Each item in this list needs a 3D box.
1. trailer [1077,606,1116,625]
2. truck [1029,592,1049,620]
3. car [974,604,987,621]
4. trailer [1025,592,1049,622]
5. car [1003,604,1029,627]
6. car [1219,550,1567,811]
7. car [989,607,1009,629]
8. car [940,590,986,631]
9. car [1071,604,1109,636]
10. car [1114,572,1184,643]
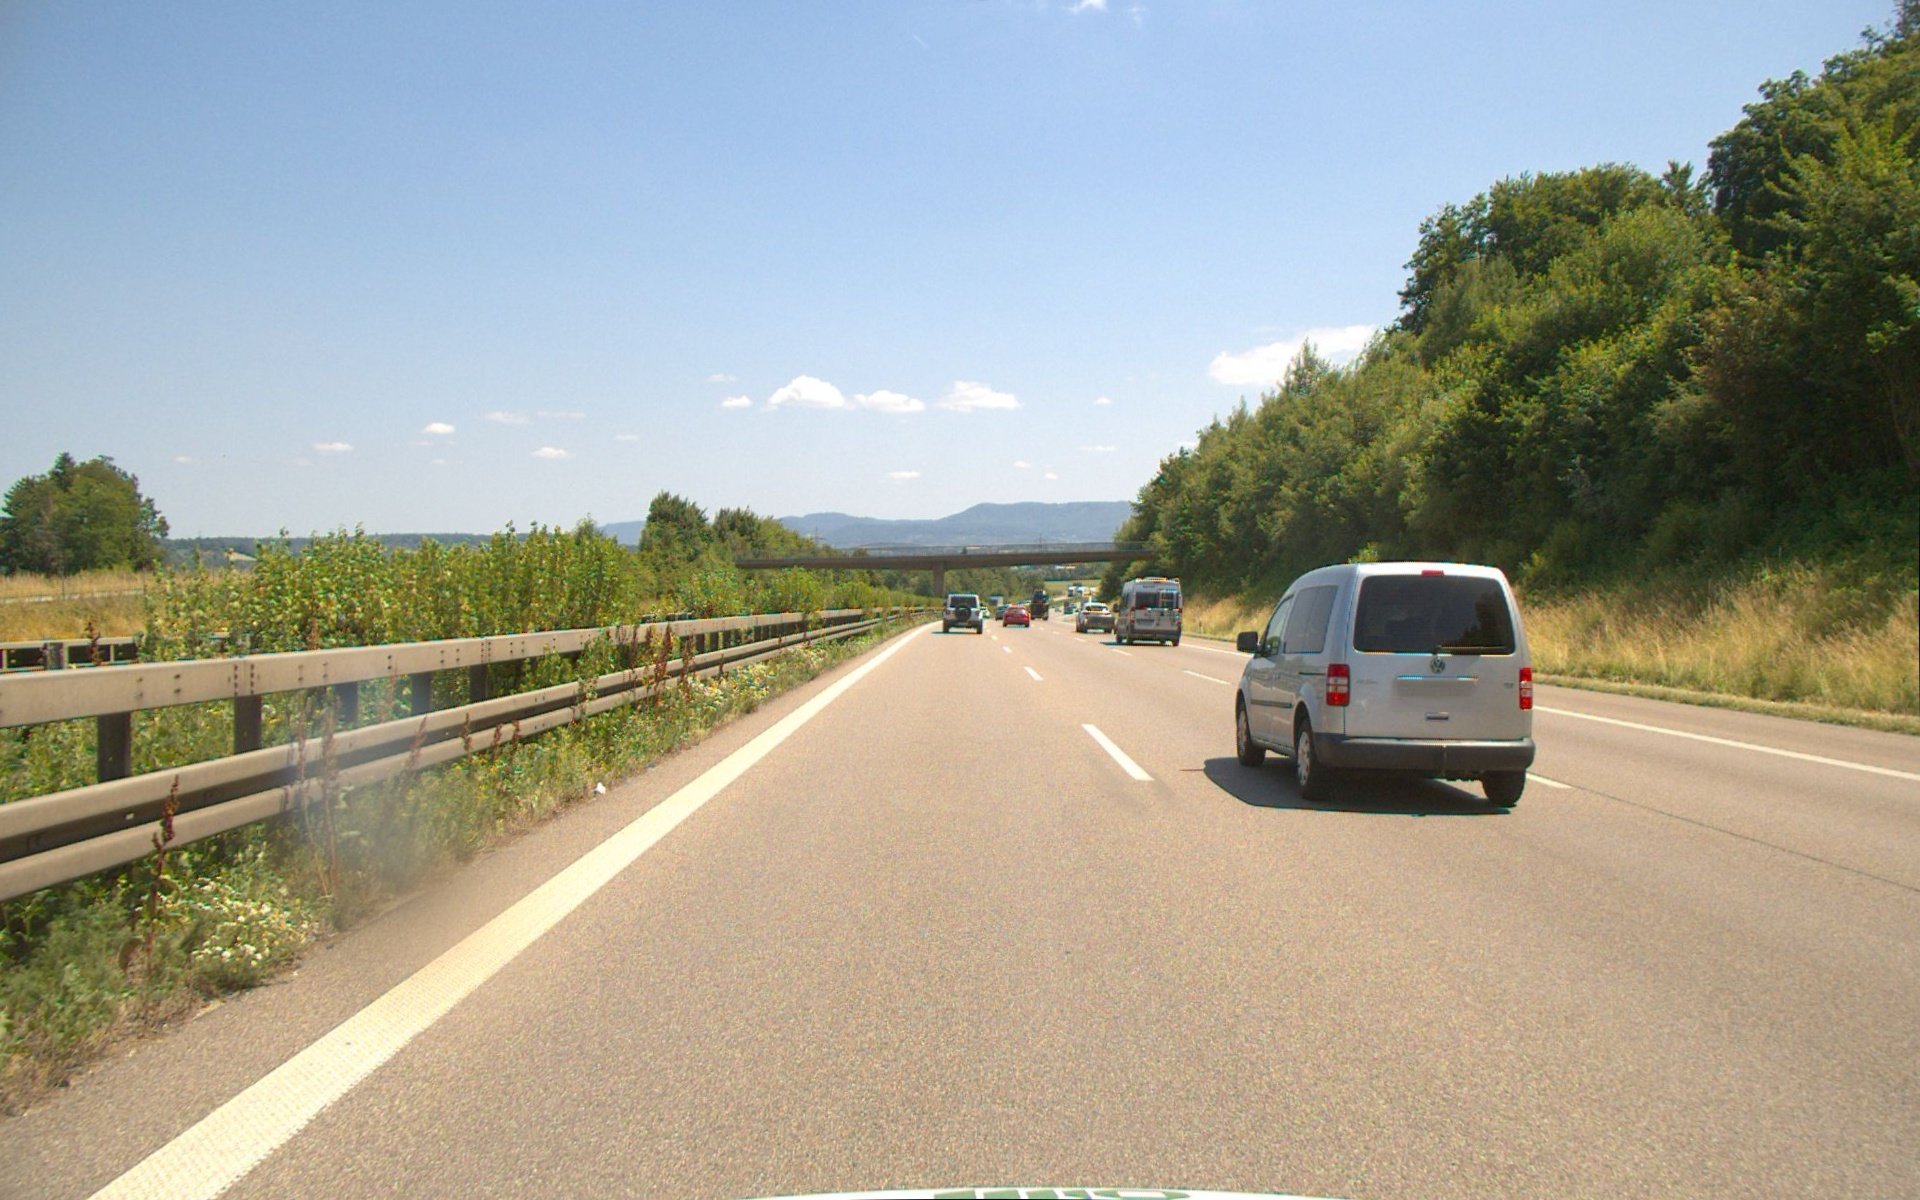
[{"bbox_3d":[7.370,0.837,89.680,1.718,0.924,4.319,1,1,0],"label":"trailer"},{"bbox_3d":[11.632,0.897,243.762,2.696,3.920,6.648,1,1,4],"label":"truck"},{"bbox_3d":[2.716,1.644,219.091,1.663,2.049,3.822,1,1,0],"label":"car"},{"bbox_3d":[11.021,0.958,236.278,2.795,4.063,15.406,1,1,5],"label":"trailer"},{"bbox_3d":[3.779,1.037,112.454,1.651,1.403,3.949,1,1,0],"label":"car"},{"bbox_3d":[3.527,0.556,14.427,1.710,1.861,4.801,1,1,0],"label":"car"},{"bbox_3d":[3.973,1.805,168.218,1.953,2.049,4.000,1,1,0],"label":"car"},{"bbox_3d":[0.182,0.484,80.029,2.040,1.861,4.754,1,1,1],"label":"car"},{"bbox_3d":[7.370,1.139,94.053,1.745,1.679,4.403,1,1,-1],"label":"car"},{"bbox_3d":[7.437,0.241,65.621,2.046,2.621,6.622,1,1,1],"label":"car"}]
